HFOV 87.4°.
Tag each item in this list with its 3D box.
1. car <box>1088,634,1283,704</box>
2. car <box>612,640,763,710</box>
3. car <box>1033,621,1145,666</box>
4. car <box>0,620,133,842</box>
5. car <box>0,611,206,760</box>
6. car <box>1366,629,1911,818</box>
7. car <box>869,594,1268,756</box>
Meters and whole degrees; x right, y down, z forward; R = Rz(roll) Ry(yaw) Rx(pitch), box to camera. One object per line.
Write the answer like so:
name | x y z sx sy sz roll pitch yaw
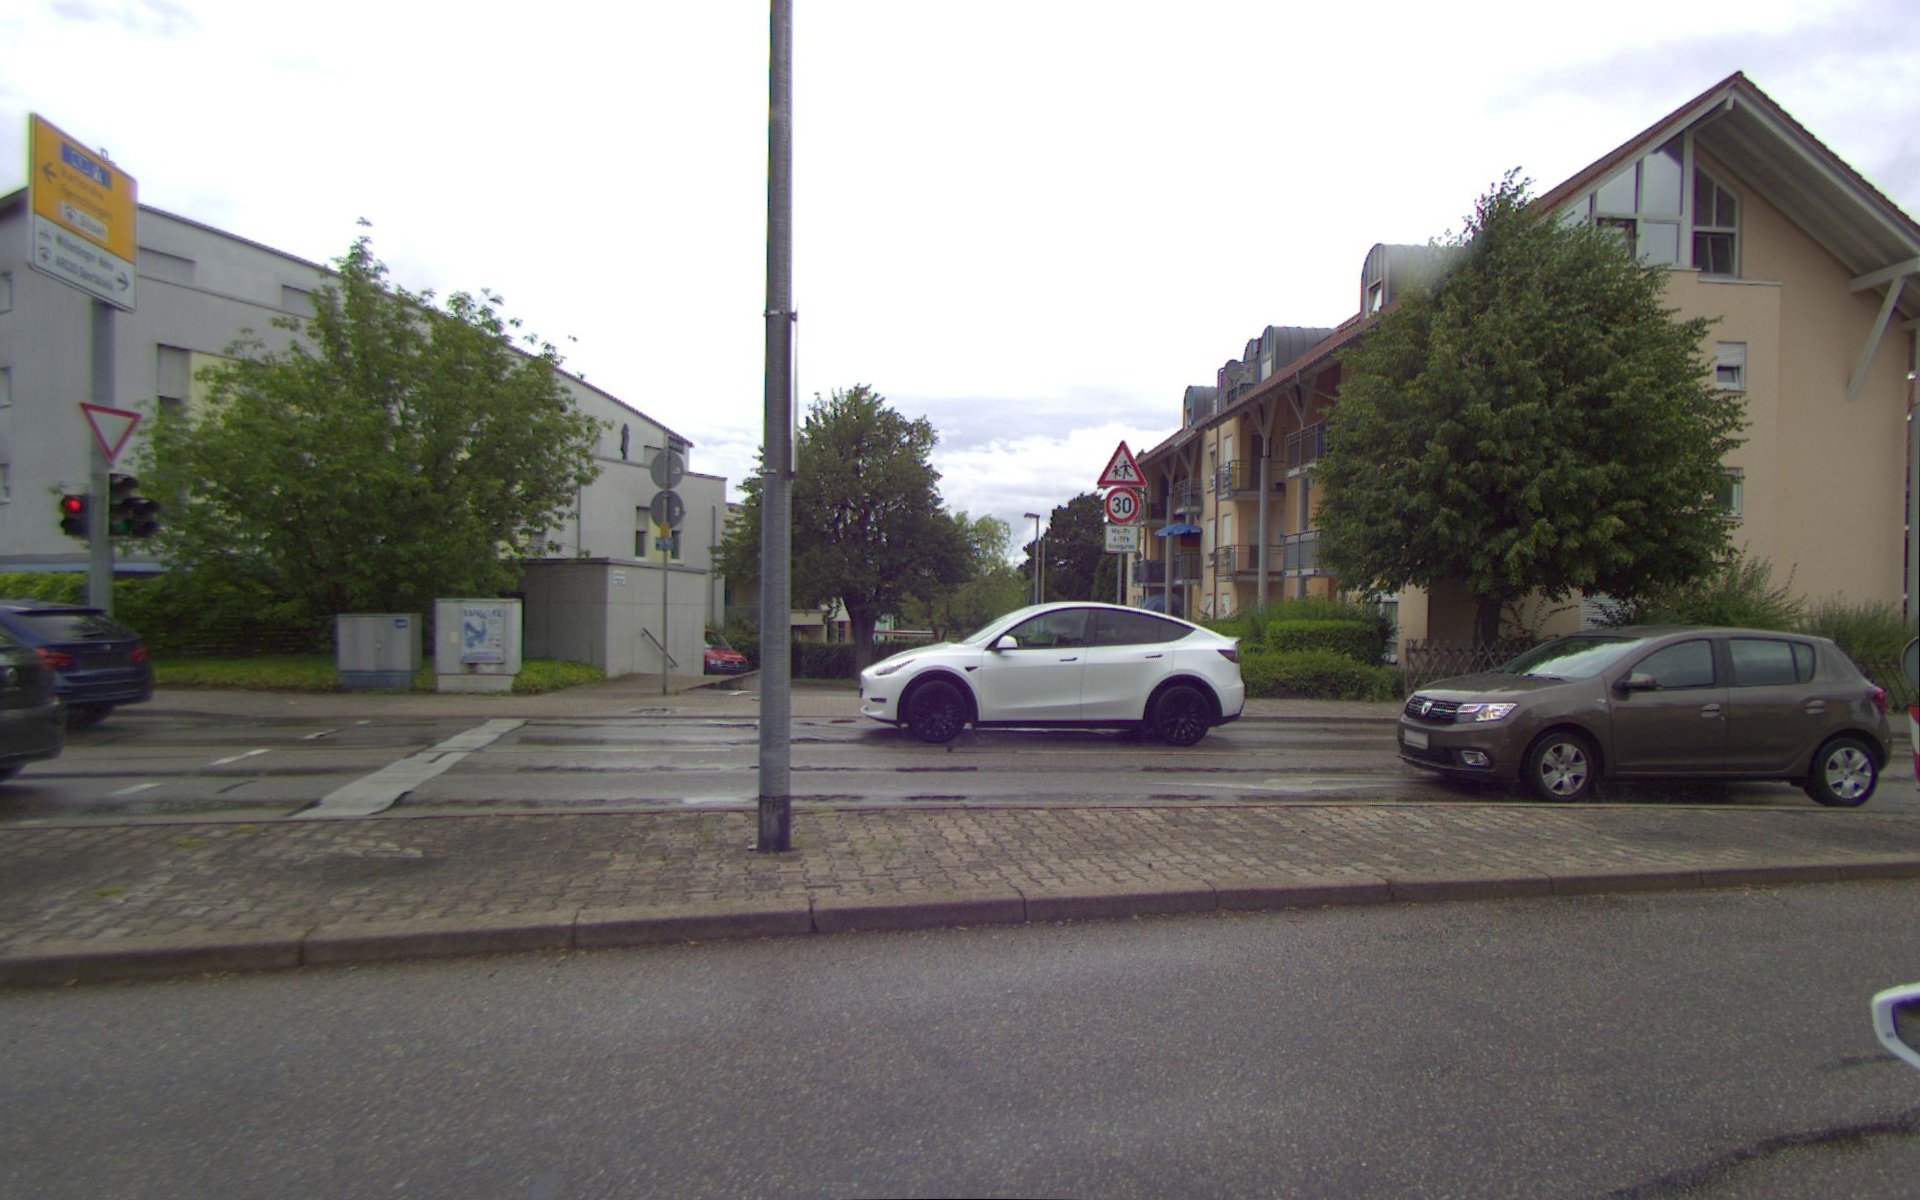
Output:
car | 5.075 1.567 23.043 4.119 1.458 1.823 1 -3 2
car | -8.833 2.372 32.495 4.571 2.040 2.032 0 -3 29
car | 7.340 2.482 57.871 5.905 2.230 2.852 3 -1 -3
car | -8.326 0.840 6.524 4.134 1.427 1.817 1 -2 -16
car | -11.143 0.819 11.059 4.266 1.453 1.761 3 -3 1
car | 6.044 1.065 9.246 3.862 1.506 1.828 1 -2 -5
car | 1.177 0.903 12.219 4.514 1.747 1.953 1 -3 -5
